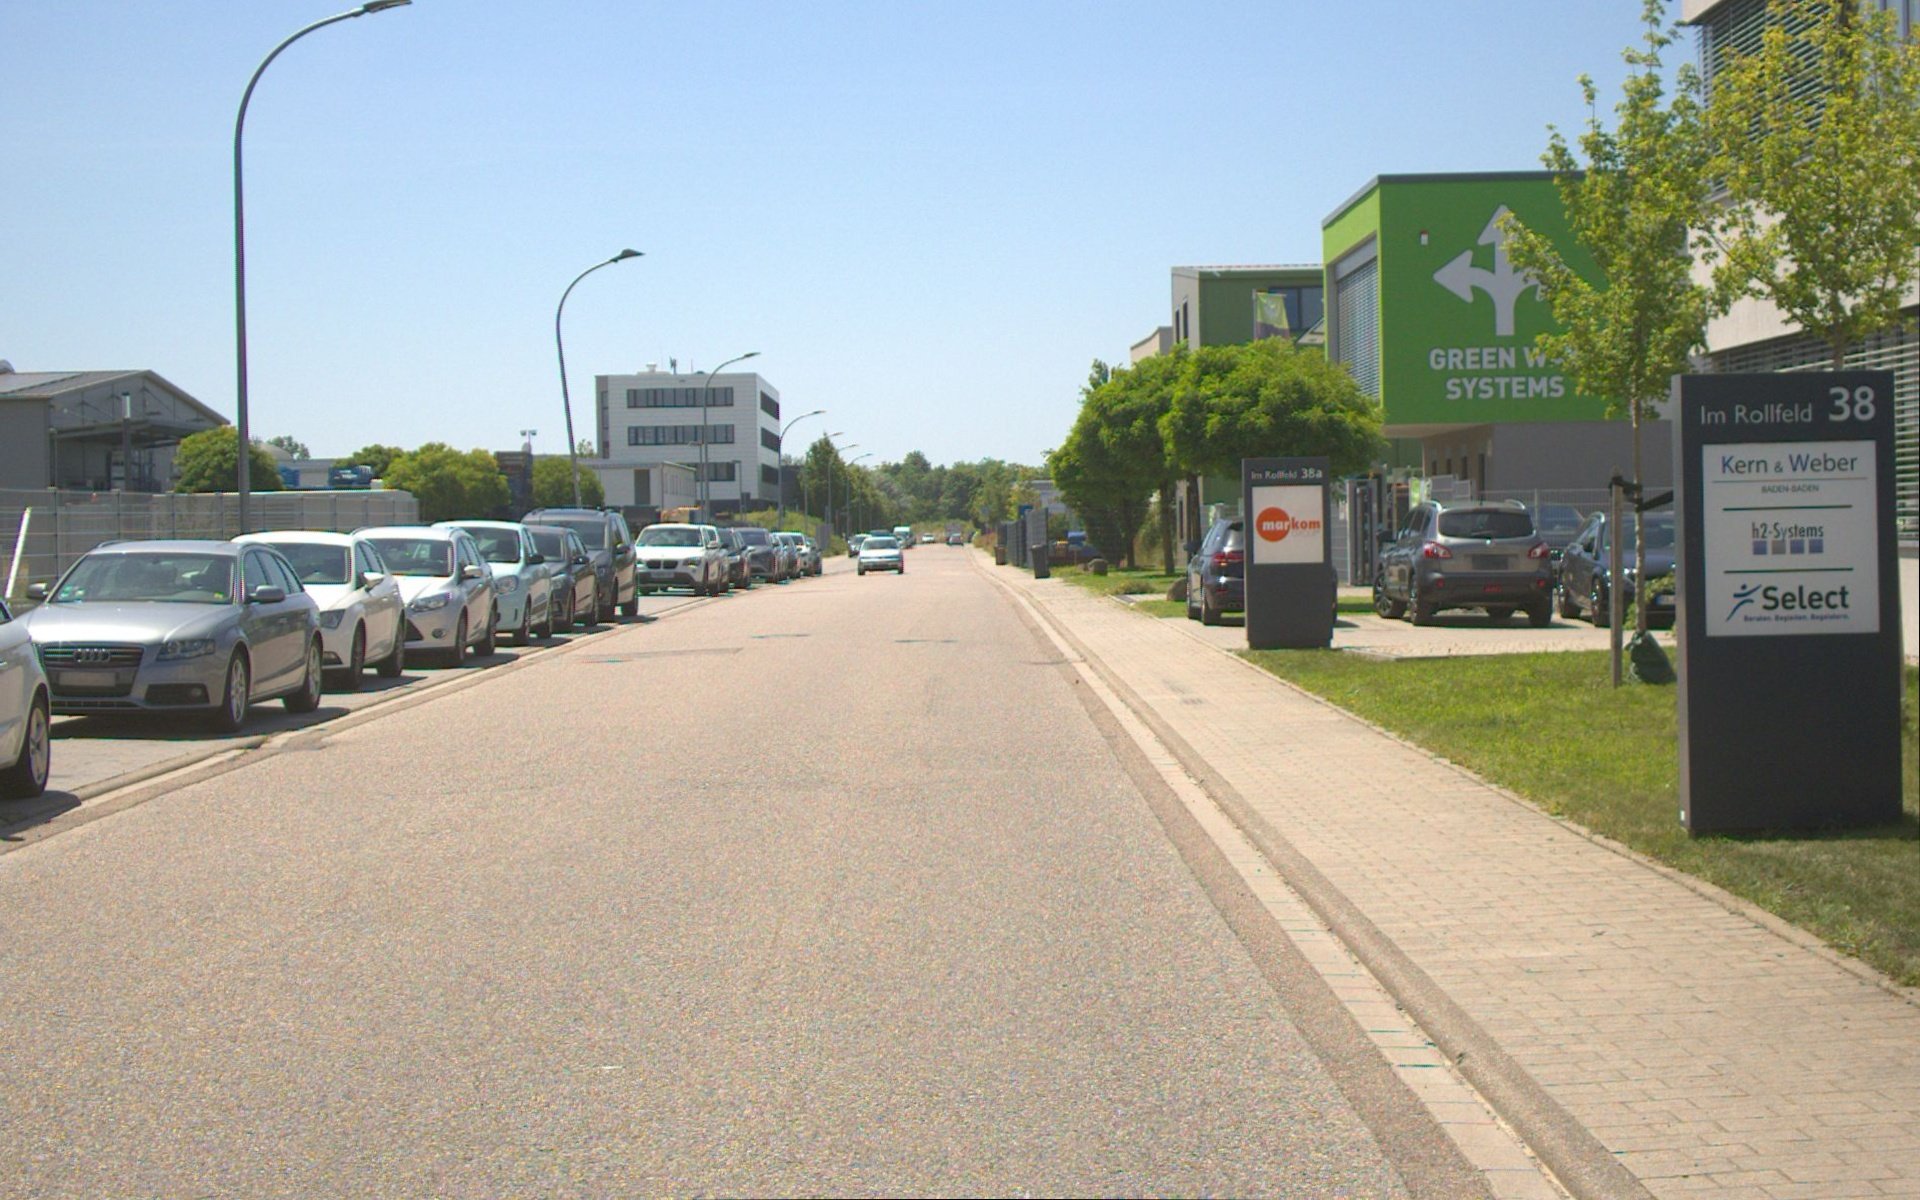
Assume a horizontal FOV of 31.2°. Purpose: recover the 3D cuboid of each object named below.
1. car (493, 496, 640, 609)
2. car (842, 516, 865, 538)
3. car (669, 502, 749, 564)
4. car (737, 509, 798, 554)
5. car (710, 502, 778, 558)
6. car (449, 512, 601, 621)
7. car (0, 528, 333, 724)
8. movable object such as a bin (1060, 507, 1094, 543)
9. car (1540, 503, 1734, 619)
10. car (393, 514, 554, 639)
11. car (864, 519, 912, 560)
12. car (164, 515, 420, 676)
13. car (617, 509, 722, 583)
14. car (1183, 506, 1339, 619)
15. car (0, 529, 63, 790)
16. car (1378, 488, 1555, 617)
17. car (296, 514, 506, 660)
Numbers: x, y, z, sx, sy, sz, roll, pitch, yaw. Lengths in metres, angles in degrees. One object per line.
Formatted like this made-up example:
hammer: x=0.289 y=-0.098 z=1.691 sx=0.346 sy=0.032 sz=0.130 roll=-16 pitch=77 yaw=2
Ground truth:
car: x=-6.163 y=-0.787 z=54.239 sx=1.802 sy=1.713 sz=4.622 roll=0 pitch=2 yaw=0
car: x=-7.177 y=-4.913 z=231.534 sx=1.467 sy=1.484 sz=3.207 roll=-1 pitch=1 yaw=0
car: x=-6.329 y=-1.702 z=87.084 sx=1.763 sy=1.512 sz=4.380 roll=0 pitch=1 yaw=-1
car: x=-6.535 y=-2.330 z=116.881 sx=1.857 sy=1.475 sz=4.229 roll=0 pitch=1 yaw=0
car: x=-6.323 y=-2.059 z=100.870 sx=1.790 sy=1.601 sz=4.463 roll=0 pitch=1 yaw=-1
car: x=-6.224 y=-0.514 z=49.521 sx=1.634 sy=1.495 sz=3.972 roll=0 pitch=2 yaw=1
car: x=-6.189 y=0.146 z=26.860 sx=1.684 sy=1.381 sz=4.639 roll=-1 pitch=1 yaw=0
movable object such as a bin: x=4.815 y=-3.103 z=141.901 sx=1.334 sy=1.454 sz=0.949 roll=-2 pitch=1 yaw=0
car: x=8.800 y=-0.546 z=44.959 sx=1.723 sy=1.444 sz=4.023 roll=0 pitch=2 yaw=0
car: x=-6.253 y=-0.337 z=44.506 sx=1.634 sy=1.531 sz=3.658 roll=0 pitch=2 yaw=-1
car: x=-2.744 y=-2.336 z=131.918 sx=1.704 sy=1.406 sz=4.784 roll=-3 pitch=2 yaw=0
car: x=-6.433 y=-0.092 z=33.544 sx=1.703 sy=1.439 sz=4.440 roll=0 pitch=2 yaw=-1
car: x=-6.249 y=-1.186 z=74.304 sx=1.787 sy=1.537 sz=4.364 roll=0 pitch=1 yaw=2
car: x=3.961 y=-0.539 z=45.789 sx=1.692 sy=1.423 sz=4.246 roll=0 pitch=2 yaw=0
car: x=-6.039 y=0.364 z=18.207 sx=1.699 sy=1.381 sz=3.938 roll=-1 pitch=2 yaw=-3
car: x=6.642 y=-0.656 z=45.407 sx=1.723 sy=1.627 sz=4.023 roll=0 pitch=2 yaw=0
car: x=-6.247 y=-0.191 z=38.854 sx=1.703 sy=1.531 sz=4.573 roll=0 pitch=2 yaw=-1
